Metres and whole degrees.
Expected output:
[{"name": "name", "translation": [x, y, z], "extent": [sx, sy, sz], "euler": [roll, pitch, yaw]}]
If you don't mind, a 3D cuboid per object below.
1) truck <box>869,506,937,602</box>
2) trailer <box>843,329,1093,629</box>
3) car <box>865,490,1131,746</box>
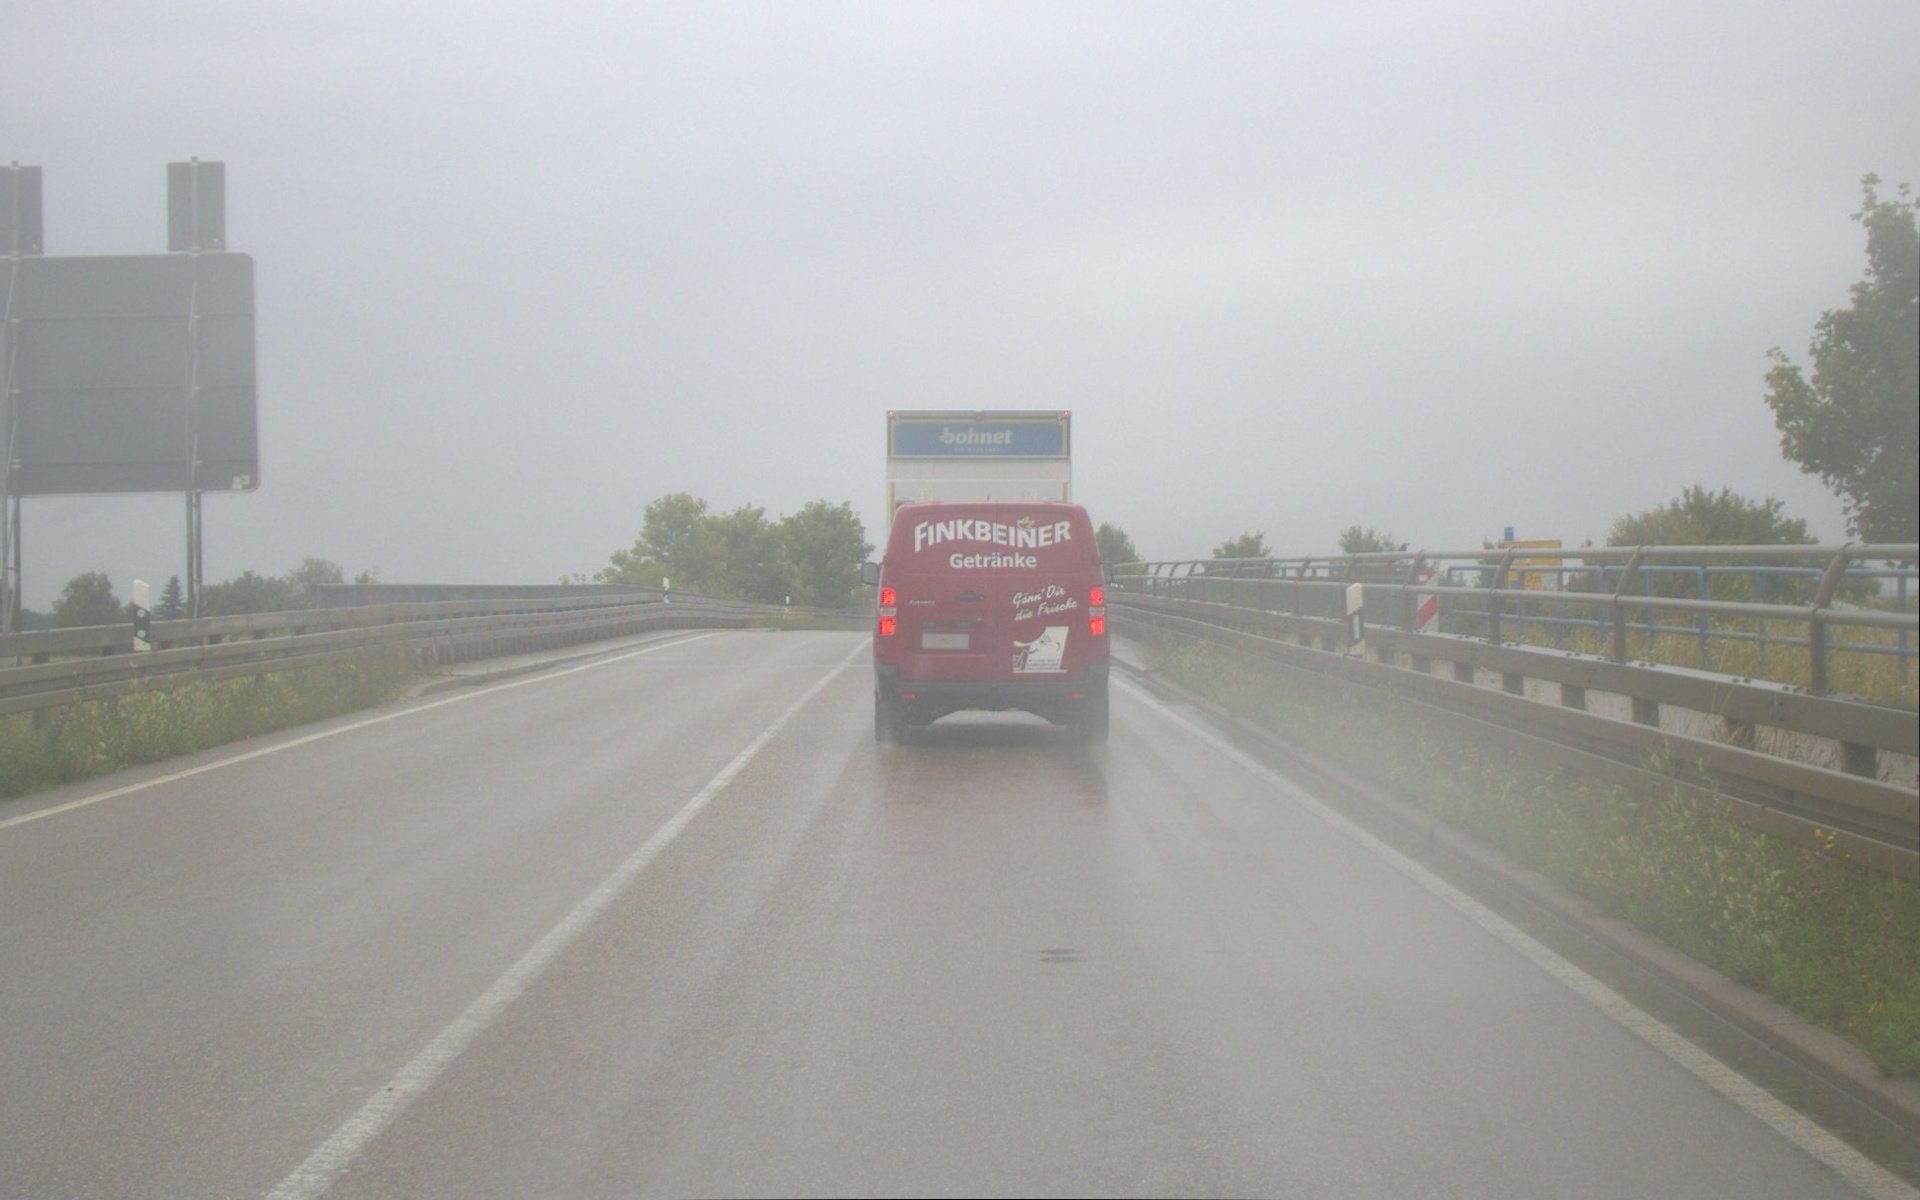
[{"name": "truck", "translation": [-2.419, -1.935, 146.700], "extent": [2.817, 3.957, 8.764], "euler": [0, 0, -1]}, {"name": "trailer", "translation": [0.217, -1.632, 50.706], "extent": [3.201, 3.908, 8.739], "euler": [3, 0, 2]}, {"name": "car", "translation": [0.262, 0.092, 28.174], "extent": [1.993, 1.919, 4.144], "euler": [1, 1, -1]}]
